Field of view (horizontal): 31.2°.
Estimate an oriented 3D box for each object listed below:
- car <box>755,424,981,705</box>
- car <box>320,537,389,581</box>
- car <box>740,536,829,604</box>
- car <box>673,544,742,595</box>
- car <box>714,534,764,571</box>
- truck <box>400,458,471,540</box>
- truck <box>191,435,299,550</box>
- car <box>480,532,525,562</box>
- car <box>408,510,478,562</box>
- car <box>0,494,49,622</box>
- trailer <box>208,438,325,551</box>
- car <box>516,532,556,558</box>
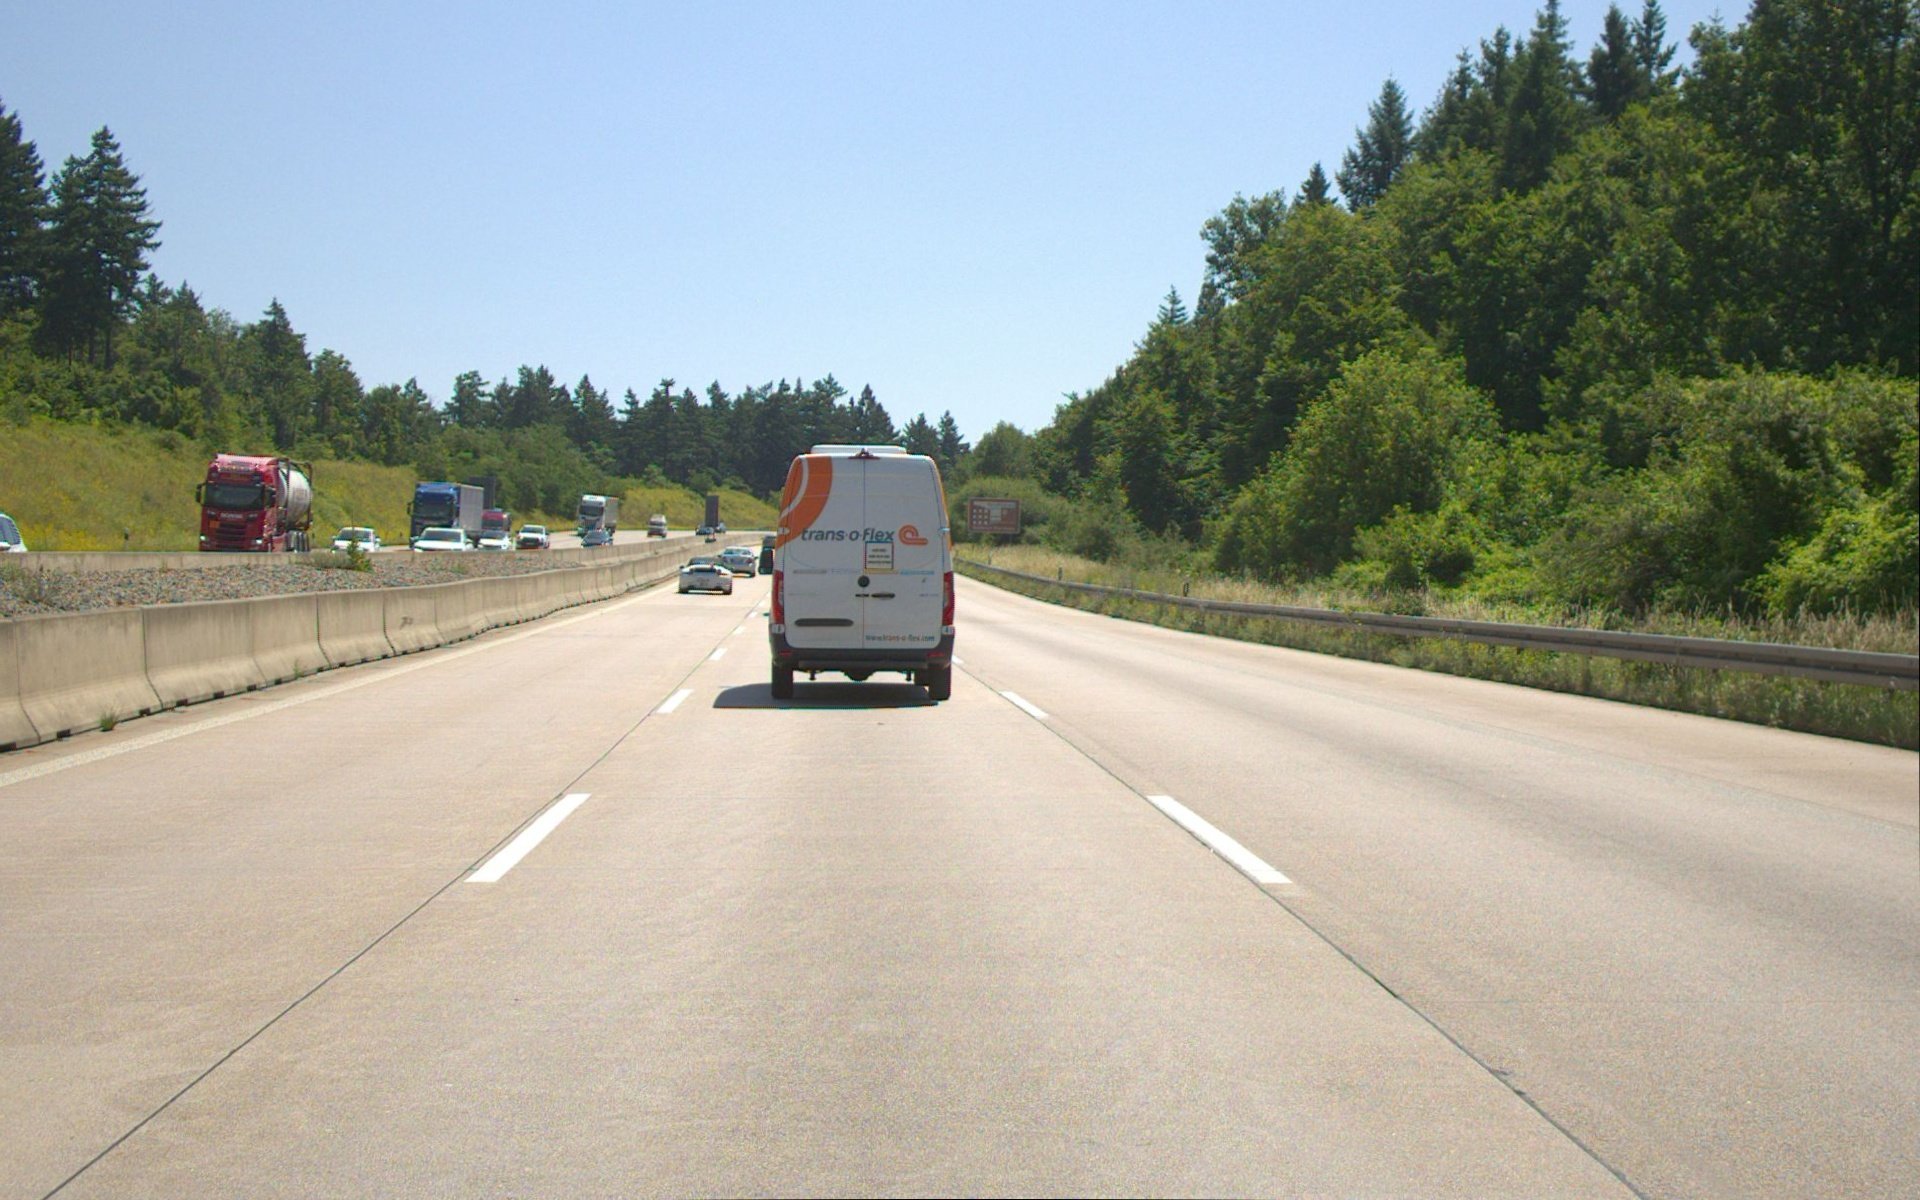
[{"bbox_3d":[-1.100,-0.435,38.607,2.226,2.834,5.455,3,1,-3],"label":"car"},{"bbox_3d":[-23.030,-1.572,130.860,1.993,1.577,4.180,2,1,-2],"label":"car"},{"bbox_3d":[-4.621,-0.802,91.166,1.993,1.678,4.000,2,1,1],"label":"car"},{"bbox_3d":[-8.939,-1.087,122.100,1.993,1.678,4.000,2,1,1],"label":"car"},{"bbox_3d":[-10.570,-2.249,164.592,1.993,1.678,4.000,2,1,1],"label":"car"},{"bbox_3d":[-30.228,-5.794,198.248,3.256,4.489,6.576,2,1,-3],"label":"truck"},{"bbox_3d":[-27.161,-4.026,130.867,2.933,4.154,5.983,2,1,-2],"label":"truck"},{"bbox_3d":[-25.325,-2.941,190.256,1.993,1.577,4.530,2,1,-2],"label":"car"},{"bbox_3d":[-19.339,-2.395,128.831,1.993,1.866,4.969,2,1,-2],"label":"car"},{"bbox_3d":[-16.073,-0.677,55.040,1.993,2.007,4.461,0,1,-3],"label":"car"},{"bbox_3d":[-27.361,-4.093,135.974,2.933,4.154,9.336,2,1,-2],"label":"trailer"},{"bbox_3d":[-26.710,-3.456,216.497,1.993,1.577,5.519,2,1,-2],"label":"car"}]
